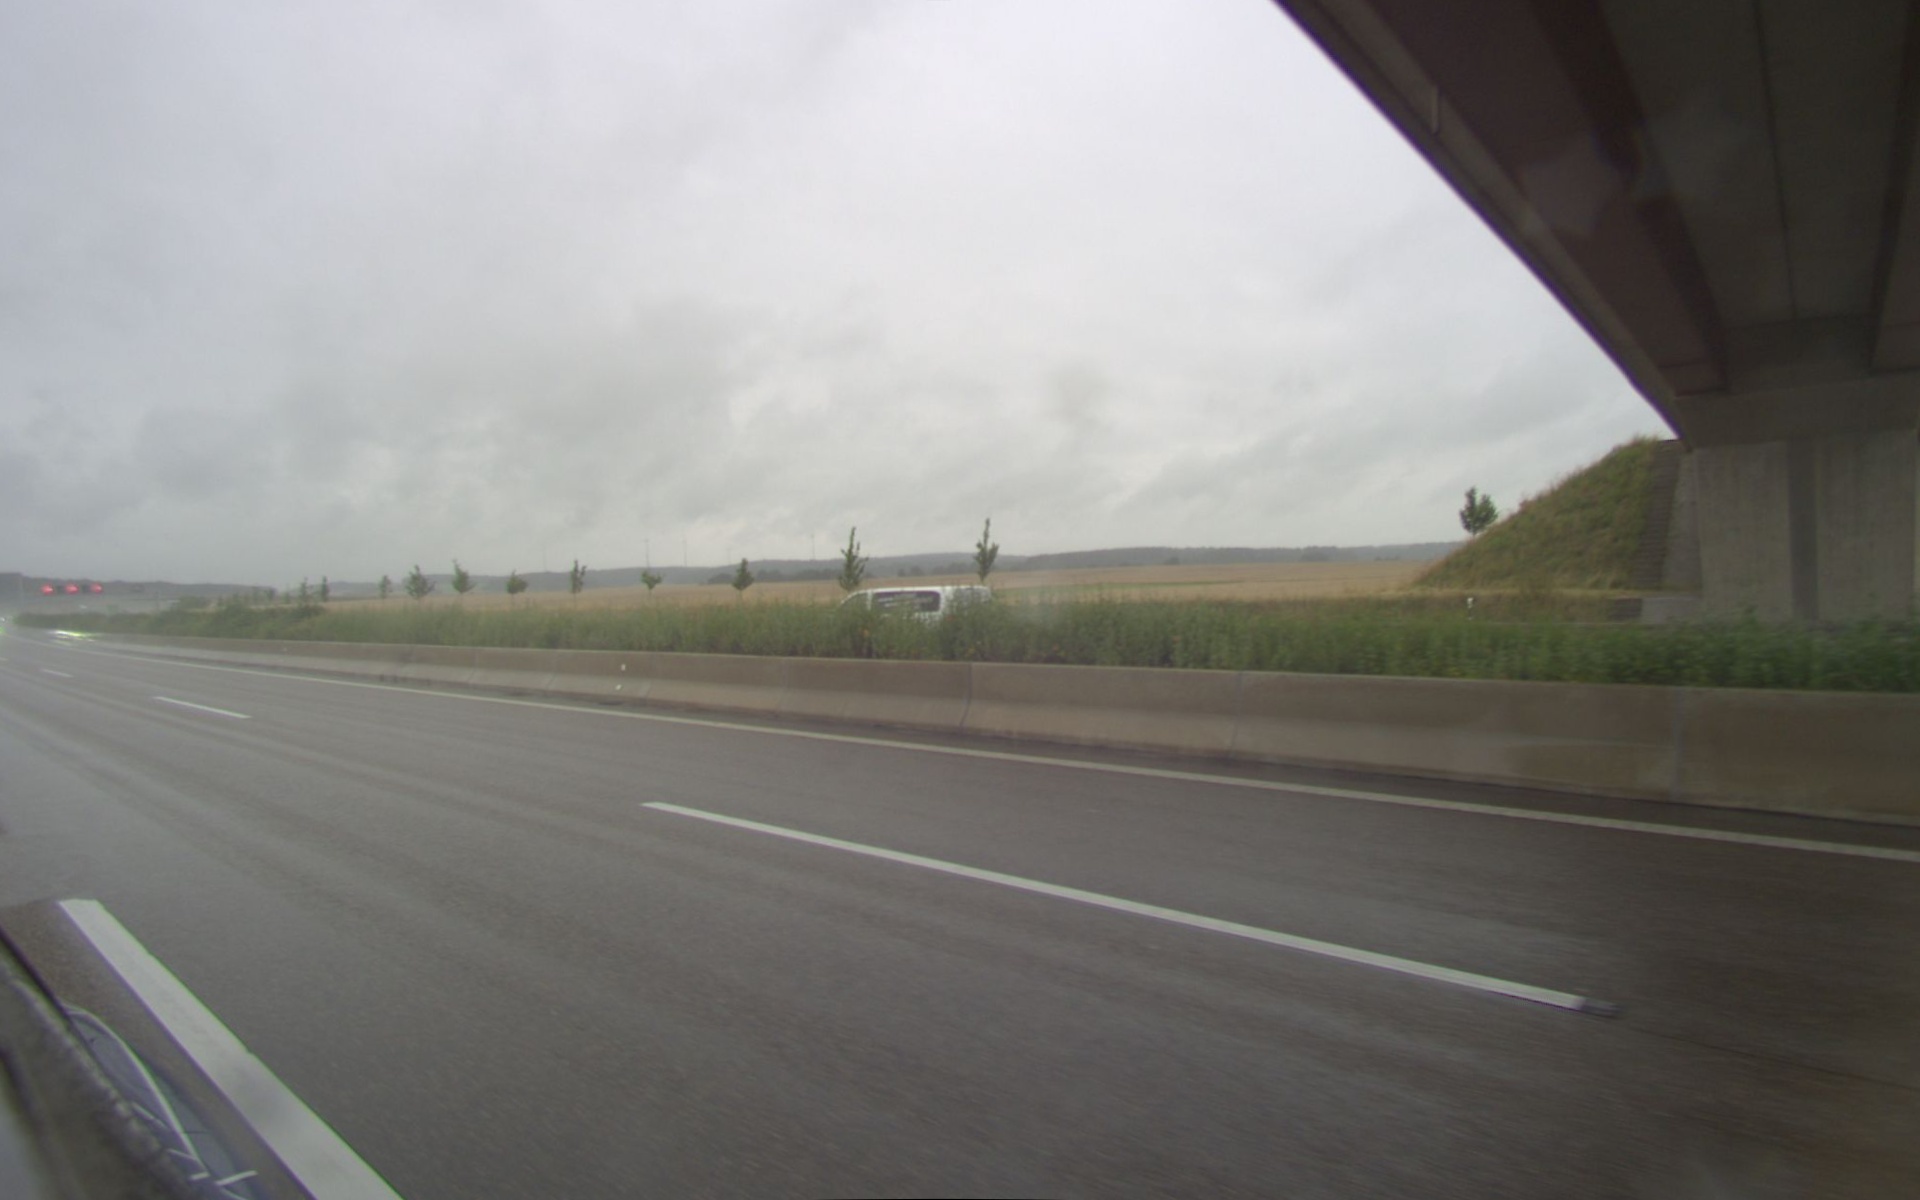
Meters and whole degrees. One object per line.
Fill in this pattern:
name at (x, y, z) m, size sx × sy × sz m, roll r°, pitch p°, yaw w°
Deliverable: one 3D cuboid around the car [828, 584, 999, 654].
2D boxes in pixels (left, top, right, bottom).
car at (-1.188, 0.448, 24.573) m, size 4.144 × 1.563 × 1.628 m, roll -1°, pitch 0°, yaw 41°
